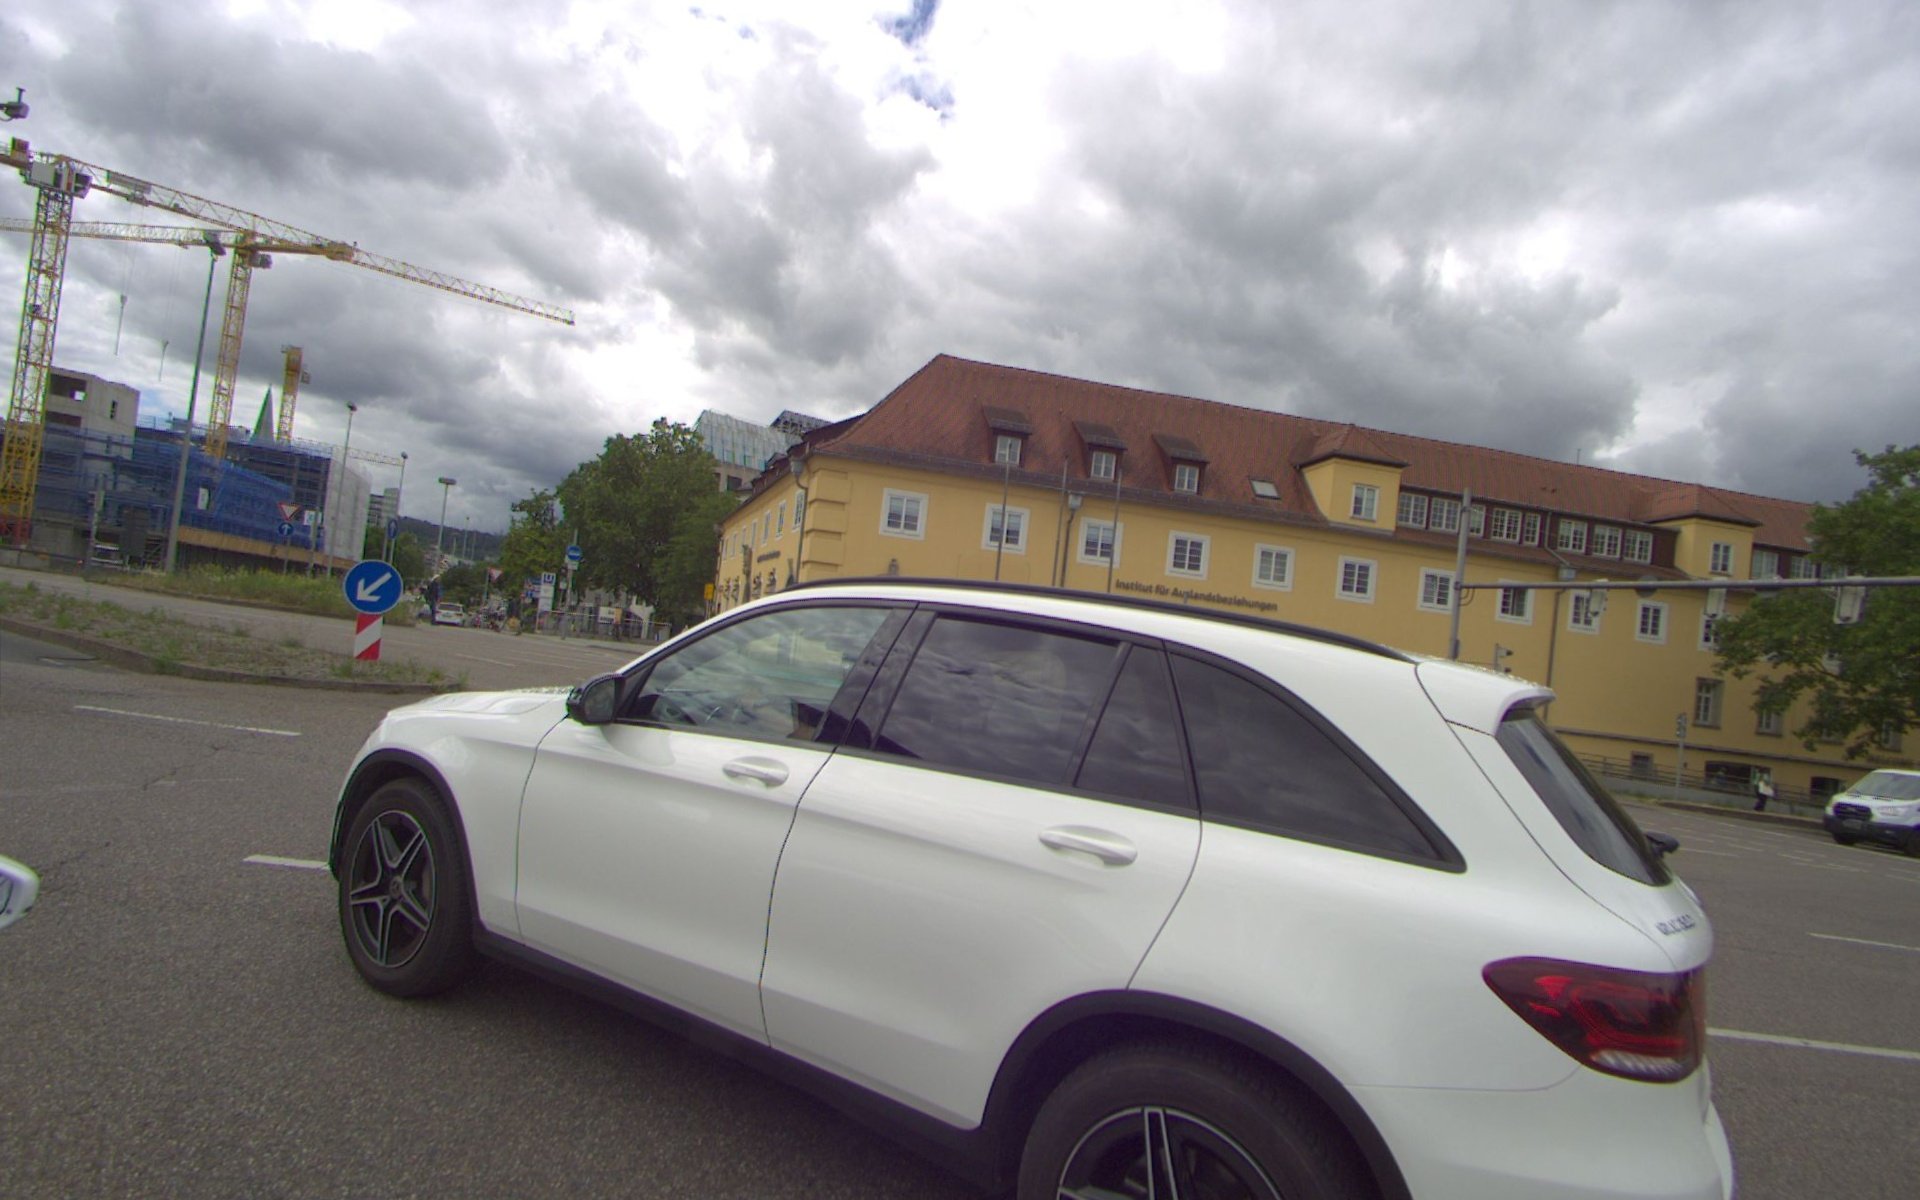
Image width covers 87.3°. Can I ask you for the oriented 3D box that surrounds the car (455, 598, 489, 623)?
[{"bbox_3d":[-40.416,0.831,83.399,1.974,1.653,3.981,9,-2,-21],"label":"car"}]

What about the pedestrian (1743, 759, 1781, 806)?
[{"bbox_3d":[26.846,6.103,33.681,0.569,1.395,0.680,8,-1,-11],"label":"pedestrian"}]

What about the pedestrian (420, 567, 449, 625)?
[{"bbox_3d":[-18.521,-0.146,35.435,0.555,1.917,0.631,8,1,-41],"label":"pedestrian"}]

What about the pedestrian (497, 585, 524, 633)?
[{"bbox_3d":[-17.959,0.370,40.224,0.743,1.809,0.823,9,-2,-23],"label":"pedestrian"}]

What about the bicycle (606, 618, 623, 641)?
[{"bbox_3d":[-18.270,1.529,53.181,0.613,1.097,1.765,9,-3,-20],"label":"bicycle"}]

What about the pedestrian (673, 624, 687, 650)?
[{"bbox_3d":[-16.974,2.238,61.048,0.618,1.466,0.721,8,-1,-15],"label":"pedestrian"}]

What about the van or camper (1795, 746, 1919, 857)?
[{"bbox_3d":[25.397,5.466,25.786,6.180,2.288,2.374,9,-2,-7],"label":"van or camper"}]

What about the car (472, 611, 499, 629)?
[{"bbox_3d":[-53.485,2.285,113.505,1.971,1.653,3.988,9,-2,-17],"label":"car"}]

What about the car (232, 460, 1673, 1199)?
[{"bbox_3d":[-0.354,0.632,3.453,4.261,1.665,1.806,7,-2,31],"label":"car"}]

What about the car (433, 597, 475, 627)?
[{"bbox_3d":[-33.007,0.809,65.722,1.854,1.617,3.988,9,-5,-20],"label":"car"}]
